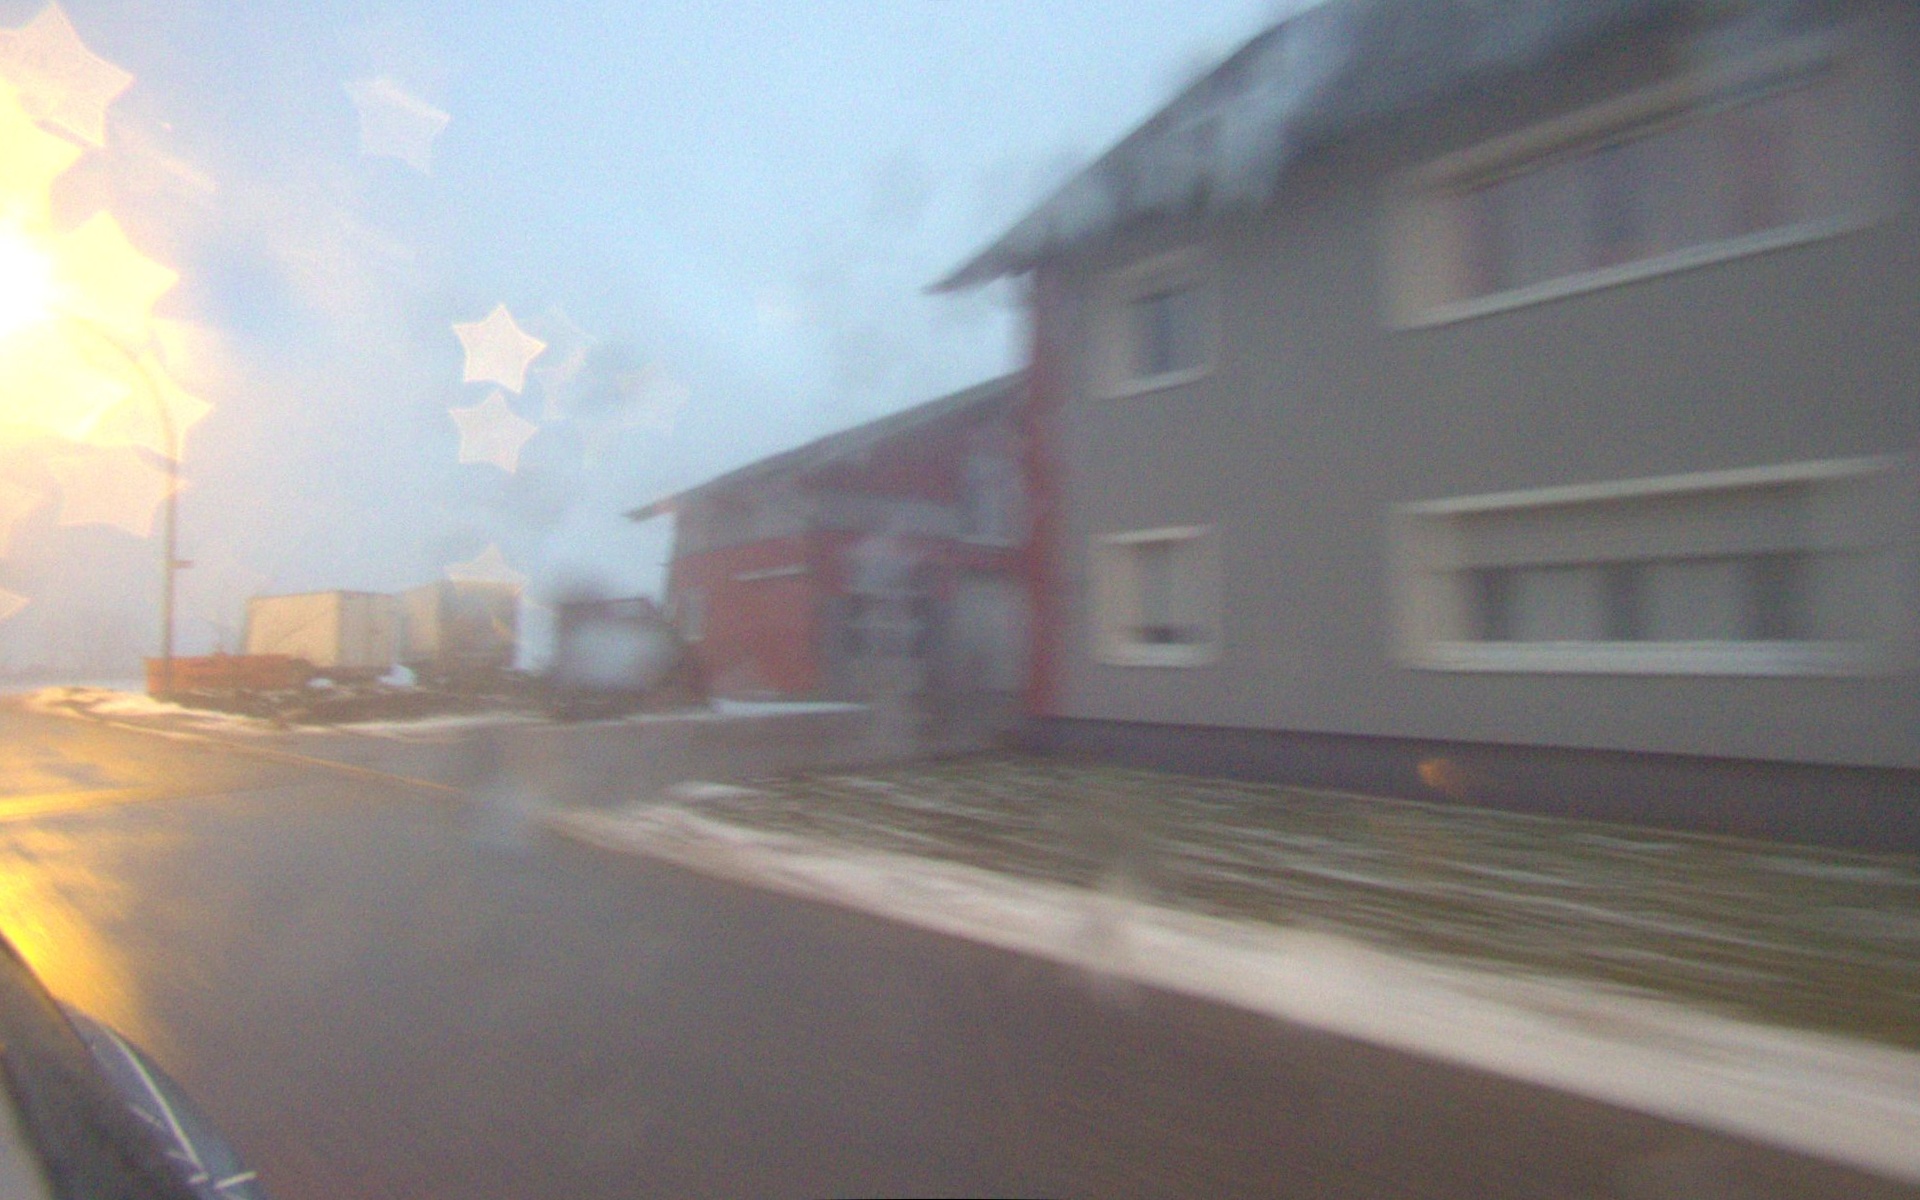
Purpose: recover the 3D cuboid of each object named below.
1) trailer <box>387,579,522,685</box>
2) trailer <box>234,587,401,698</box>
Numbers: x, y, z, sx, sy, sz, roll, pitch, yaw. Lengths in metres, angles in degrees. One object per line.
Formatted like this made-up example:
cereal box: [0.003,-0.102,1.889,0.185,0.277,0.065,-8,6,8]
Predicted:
trailer: [-13.175,0.928,26.282,1.970,2.508,4.014,5,-7,-43]
trailer: [-16.085,1.108,25.373,3.418,2.625,1.684,-1,-5,20]
